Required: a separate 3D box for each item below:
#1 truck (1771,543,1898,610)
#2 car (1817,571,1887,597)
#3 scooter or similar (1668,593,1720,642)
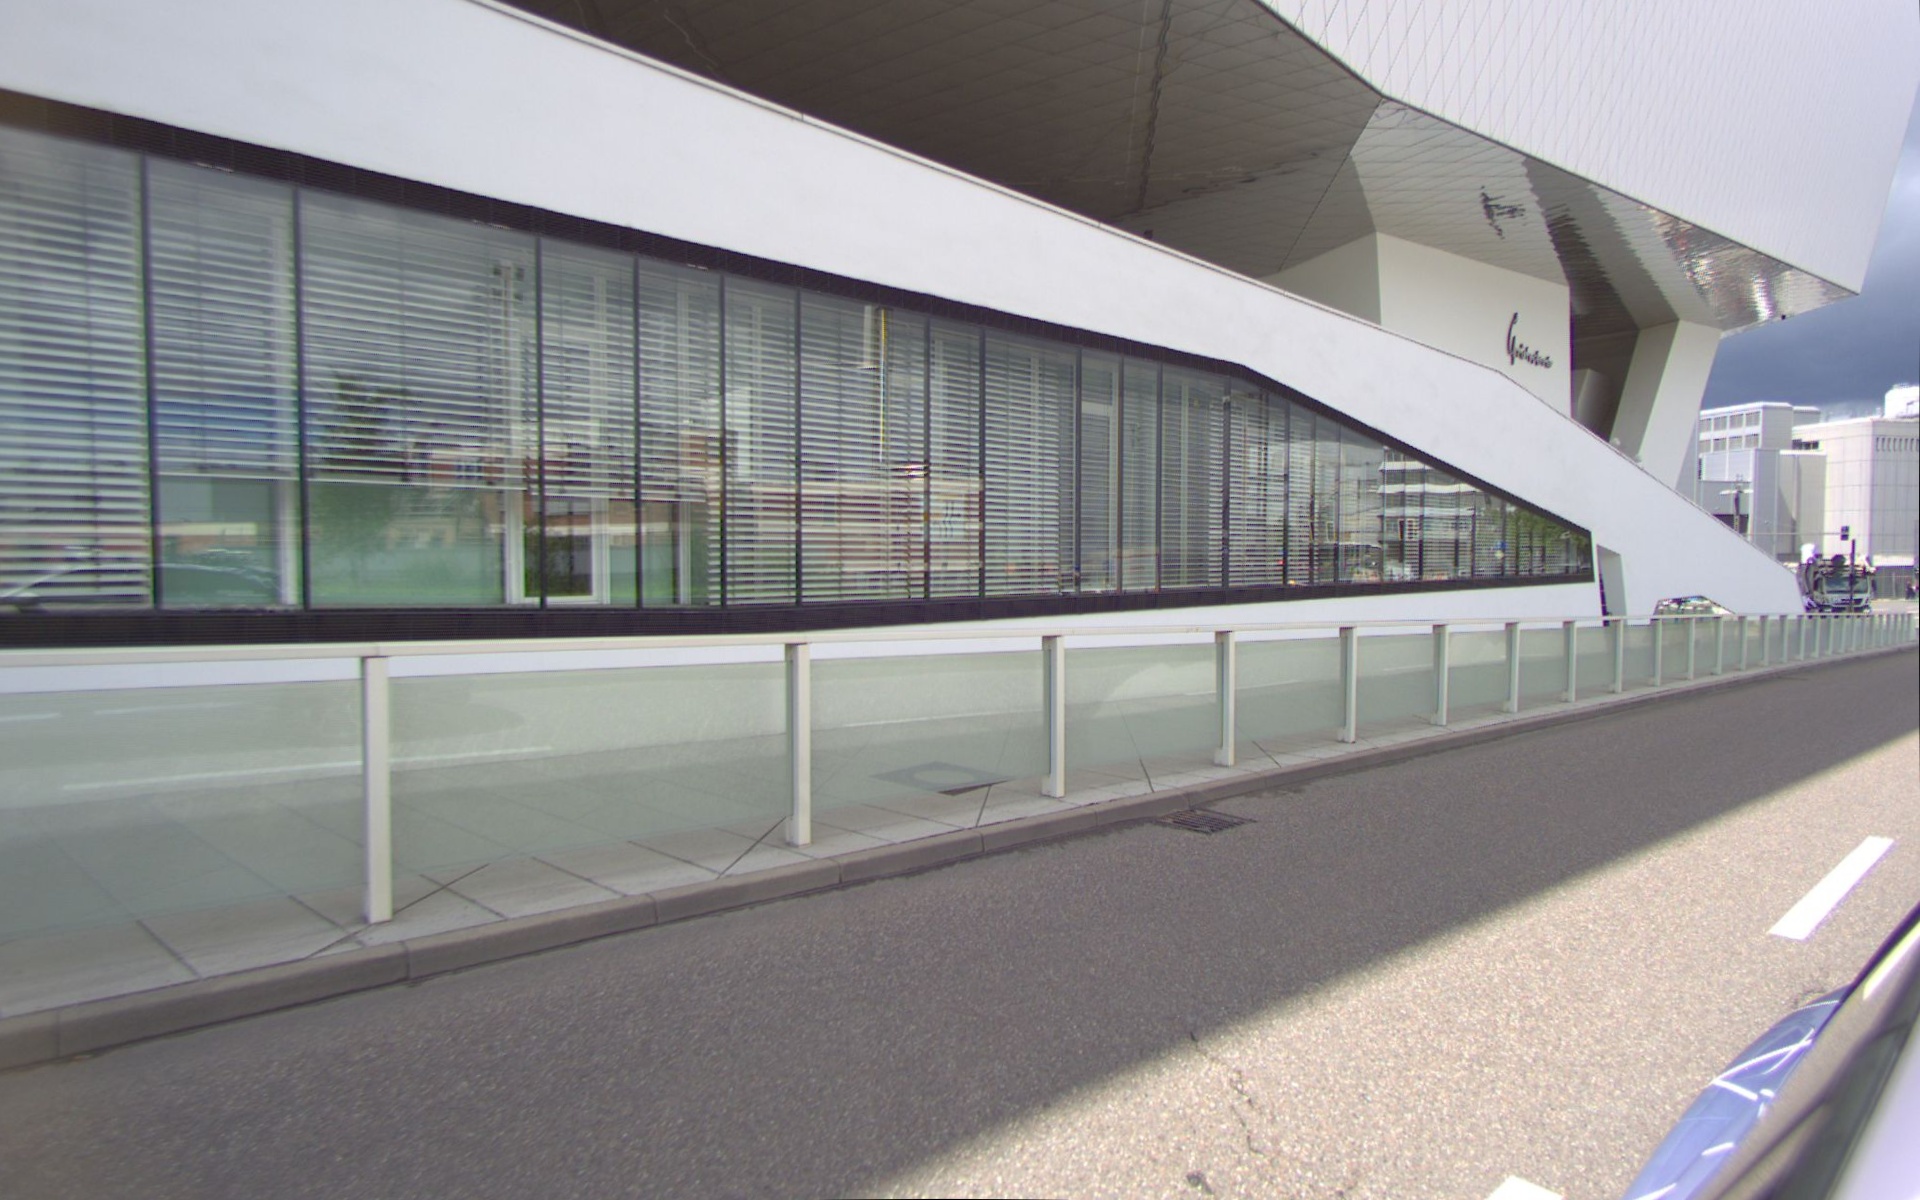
[{"bbox_3d":[53.766,-1.486,62.598,2.815,3.736,10.668,2,2,24],"label":"truck"},{"bbox_3d":[68.588,-1.210,77.823,5.196,1.934,2.168,0,2,-26],"label":"car"},{"bbox_3d":[19.705,0.445,27.139,1.919,1.258,0.707,-1,2,-41],"label":"scooter or similar"}]
